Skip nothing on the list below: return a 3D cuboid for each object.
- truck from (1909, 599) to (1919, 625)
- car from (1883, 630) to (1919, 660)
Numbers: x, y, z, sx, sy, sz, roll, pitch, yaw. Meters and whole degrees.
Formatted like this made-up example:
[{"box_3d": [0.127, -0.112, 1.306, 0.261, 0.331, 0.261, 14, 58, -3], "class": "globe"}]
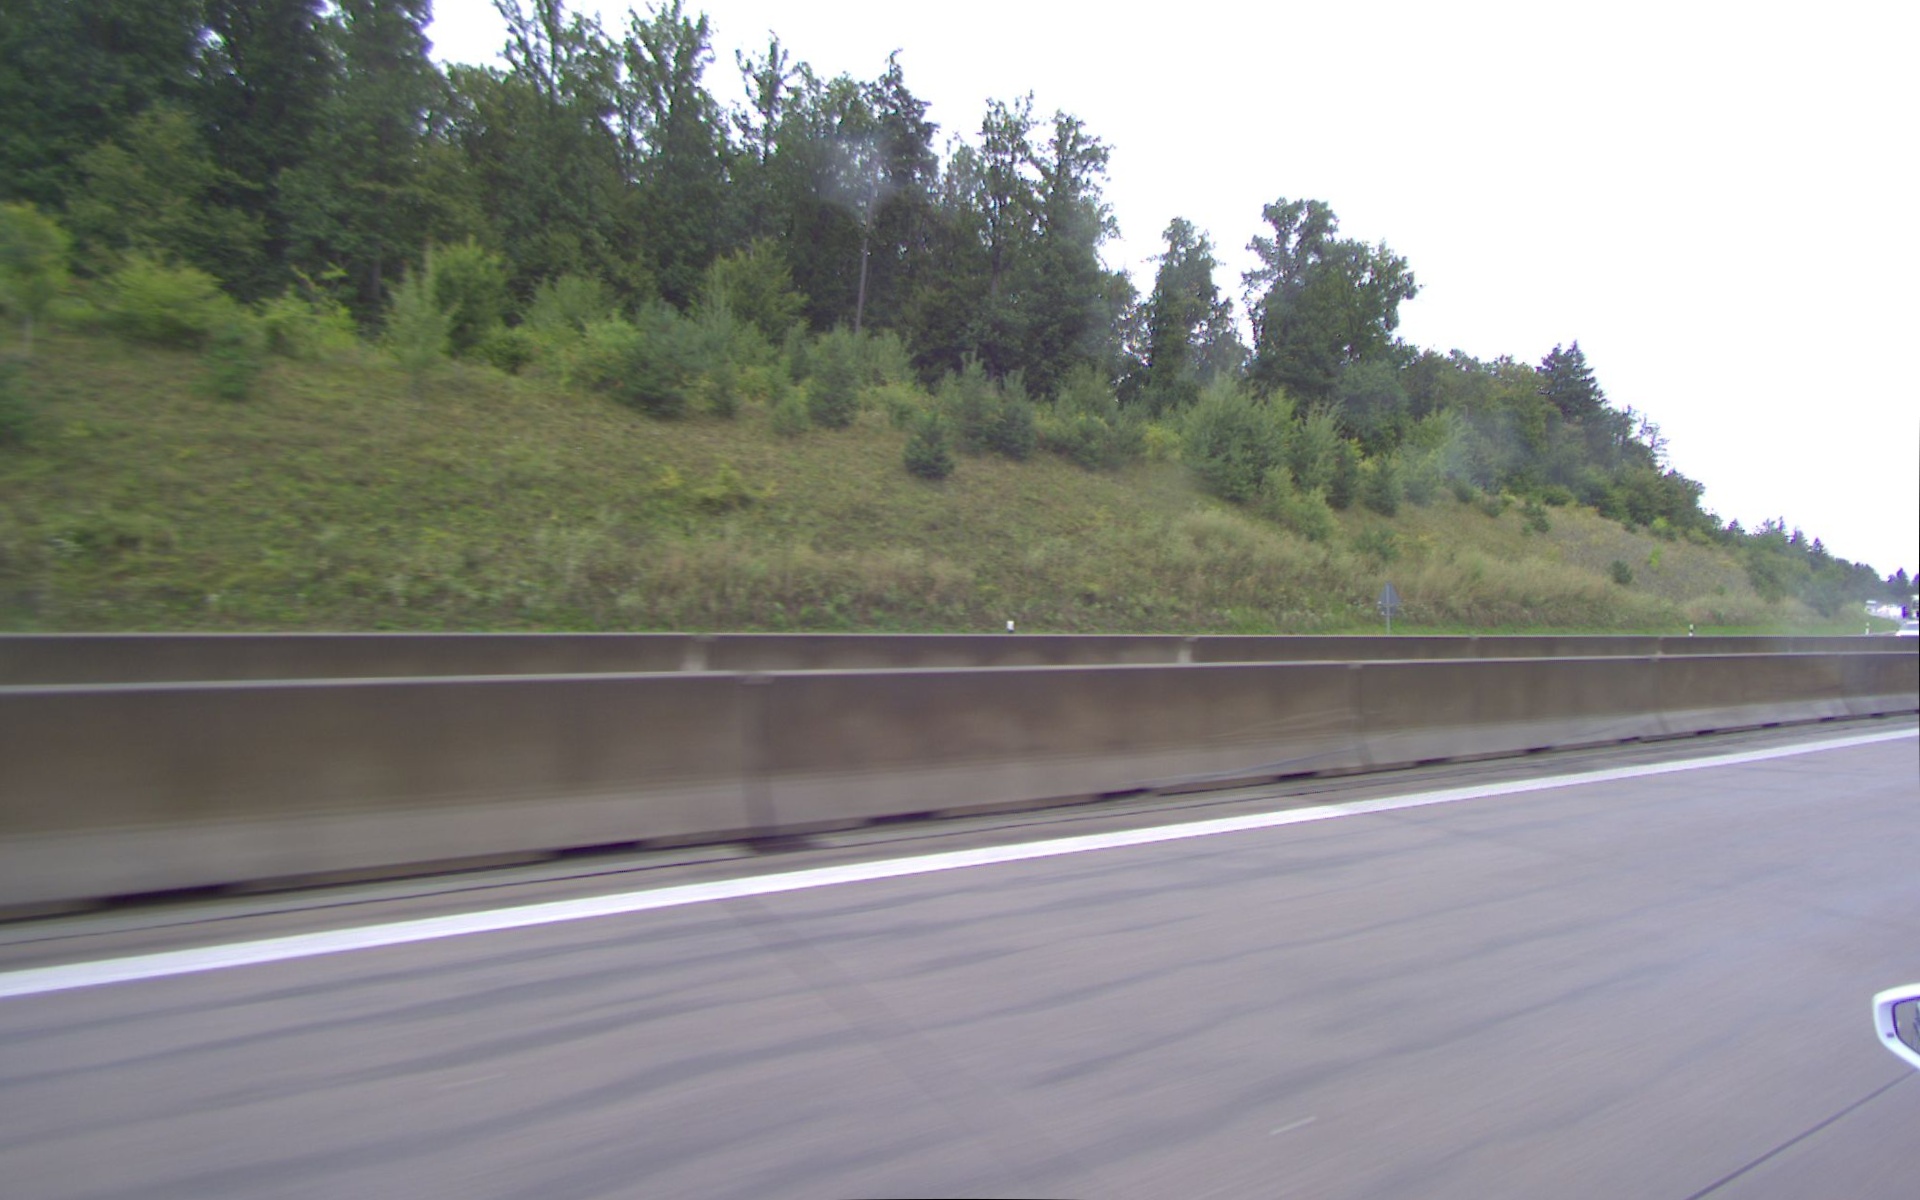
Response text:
[{"box_3d": [168.957, 2.129, 176.371, 8.255, 4.342, 2.719, 1, 0, -43], "class": "truck"}, {"box_3d": [53.150, 2.492, 55.925, 3.959, 1.538, 1.765, 1, 0, -35], "class": "car"}]
